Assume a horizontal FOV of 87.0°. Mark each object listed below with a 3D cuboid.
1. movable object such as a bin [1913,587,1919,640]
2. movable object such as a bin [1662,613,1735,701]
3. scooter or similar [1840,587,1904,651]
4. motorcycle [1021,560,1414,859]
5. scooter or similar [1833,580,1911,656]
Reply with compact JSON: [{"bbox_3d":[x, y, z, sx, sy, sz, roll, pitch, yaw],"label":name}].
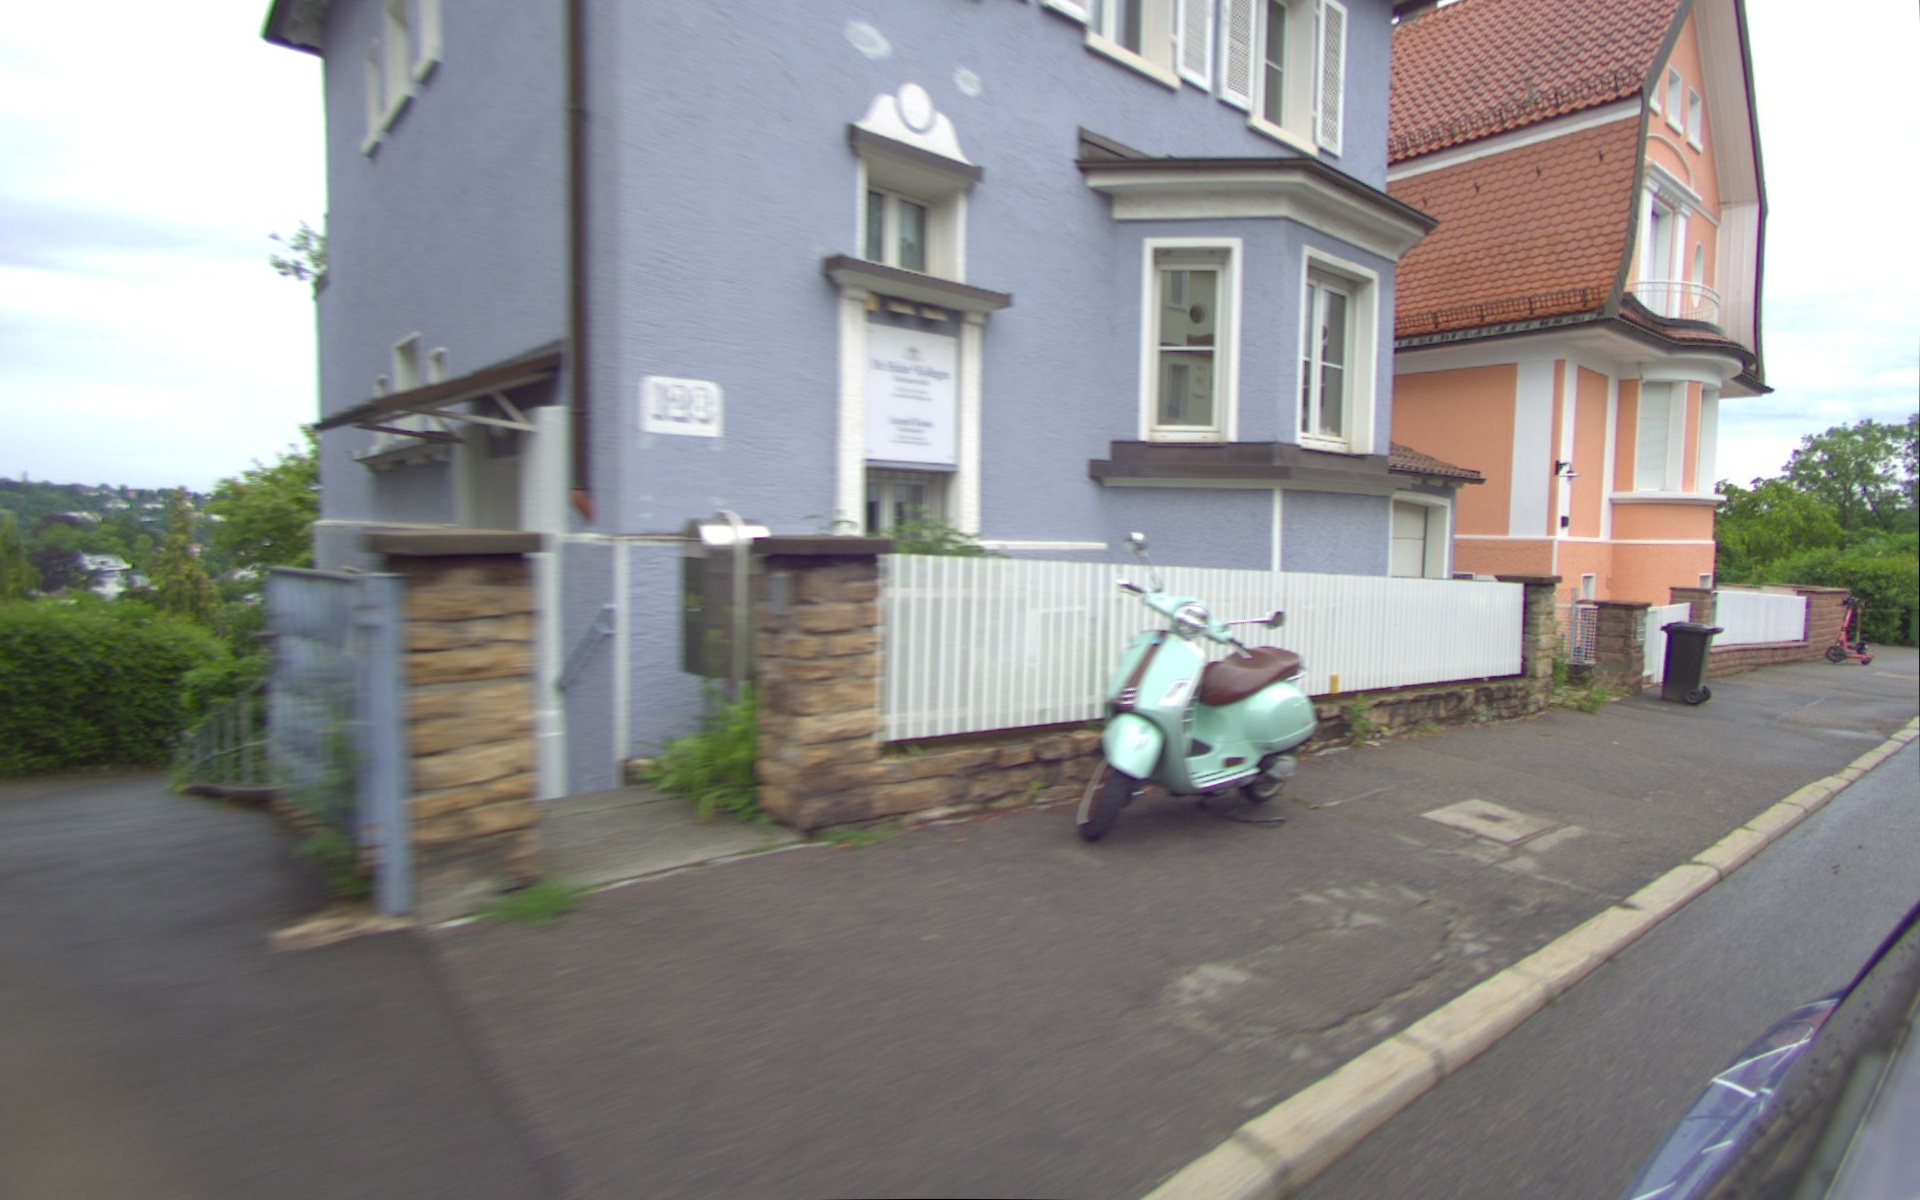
[{"bbox_3d":[23.601,0.355,24.357,0.900,1.260,0.728,0,5,-37],"label":"movable object such as a bin"},{"bbox_3d":[8.577,0.645,11.751,0.480,0.929,0.533,0,5,-42],"label":"movable object such as a bin"},{"bbox_3d":[19.821,0.392,22.021,0.351,1.287,1.290,1,4,11],"label":"scooter or similar"},{"bbox_3d":[1.404,0.467,5.299,2.113,1.239,0.696,0,9,-37],"label":"motorcycle"},{"bbox_3d":[17.463,0.339,19.368,1.447,1.420,0.357,0,1,-16],"label":"scooter or similar"}]
